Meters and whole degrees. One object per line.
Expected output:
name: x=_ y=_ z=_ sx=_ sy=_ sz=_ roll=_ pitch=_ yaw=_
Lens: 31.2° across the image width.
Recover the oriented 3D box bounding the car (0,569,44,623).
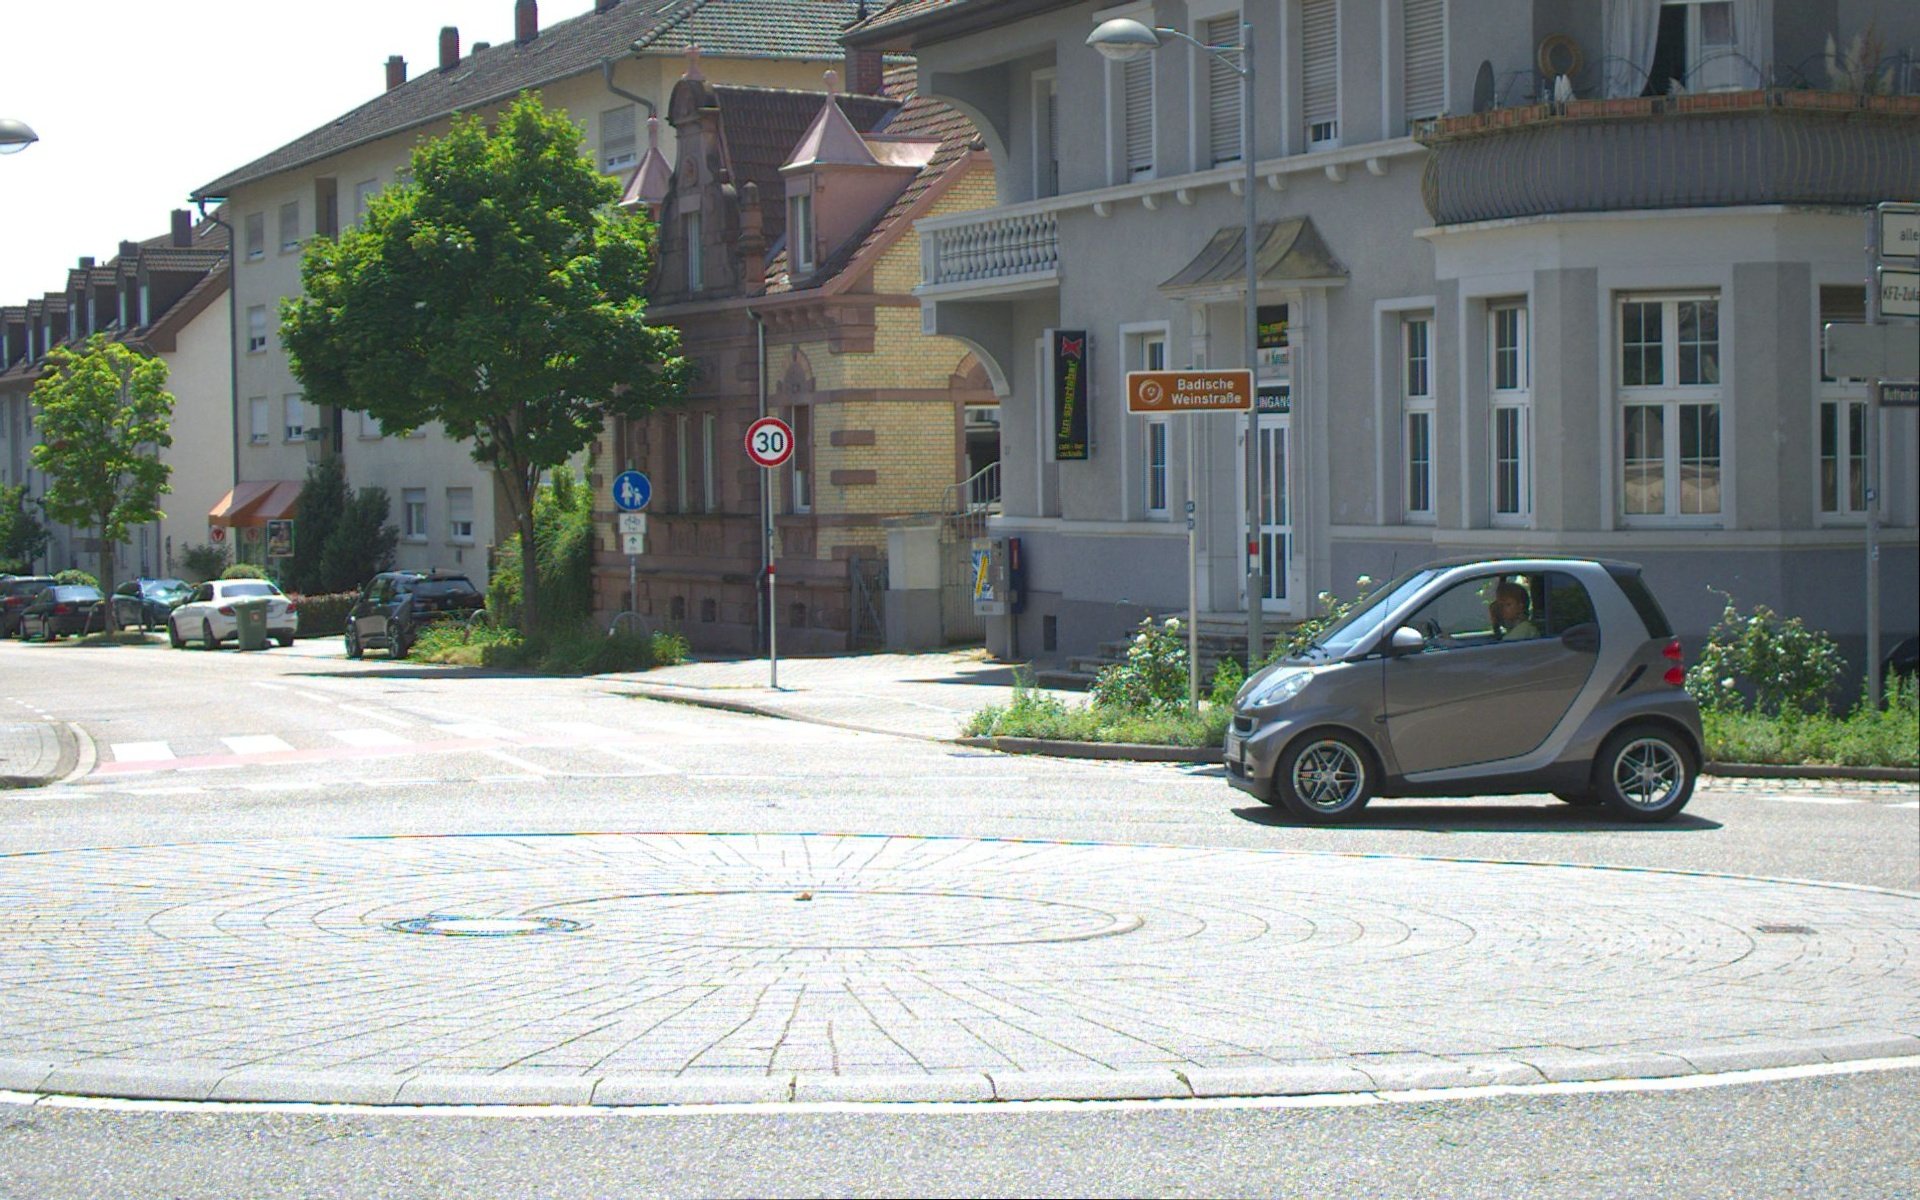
car: x=-27.683 y=-0.129 z=98.295 sx=1.993 sy=1.504 sz=4.419 roll=0 pitch=1 yaw=-27

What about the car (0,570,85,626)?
car: x=-25.306 y=-0.076 z=93.521 sx=1.993 sy=1.504 sz=4.419 roll=0 pitch=1 yaw=-27

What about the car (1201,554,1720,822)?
car: x=2.928 y=0.495 z=20.476 sx=2.779 sy=1.525 sz=1.570 roll=0 pitch=1 yaw=-4

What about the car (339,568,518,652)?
car: x=-9.886 y=0.156 z=63.729 sx=1.993 sy=1.504 sz=4.419 roll=0 pitch=1 yaw=-27

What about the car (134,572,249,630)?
car: x=-20.821 y=0.005 z=93.016 sx=1.993 sy=1.504 sz=4.419 roll=0 pitch=1 yaw=-27

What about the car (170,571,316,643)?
car: x=-15.590 y=0.120 z=74.605 sx=1.993 sy=1.504 sz=4.419 roll=0 pitch=1 yaw=-27

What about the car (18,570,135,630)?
car: x=-22.661 y=-0.016 z=88.088 sx=1.993 sy=1.504 sz=4.419 roll=0 pitch=1 yaw=-27

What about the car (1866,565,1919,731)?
car: x=9.840 y=0.429 z=29.661 sx=1.718 sy=1.455 sz=3.793 roll=0 pitch=1 yaw=-31
